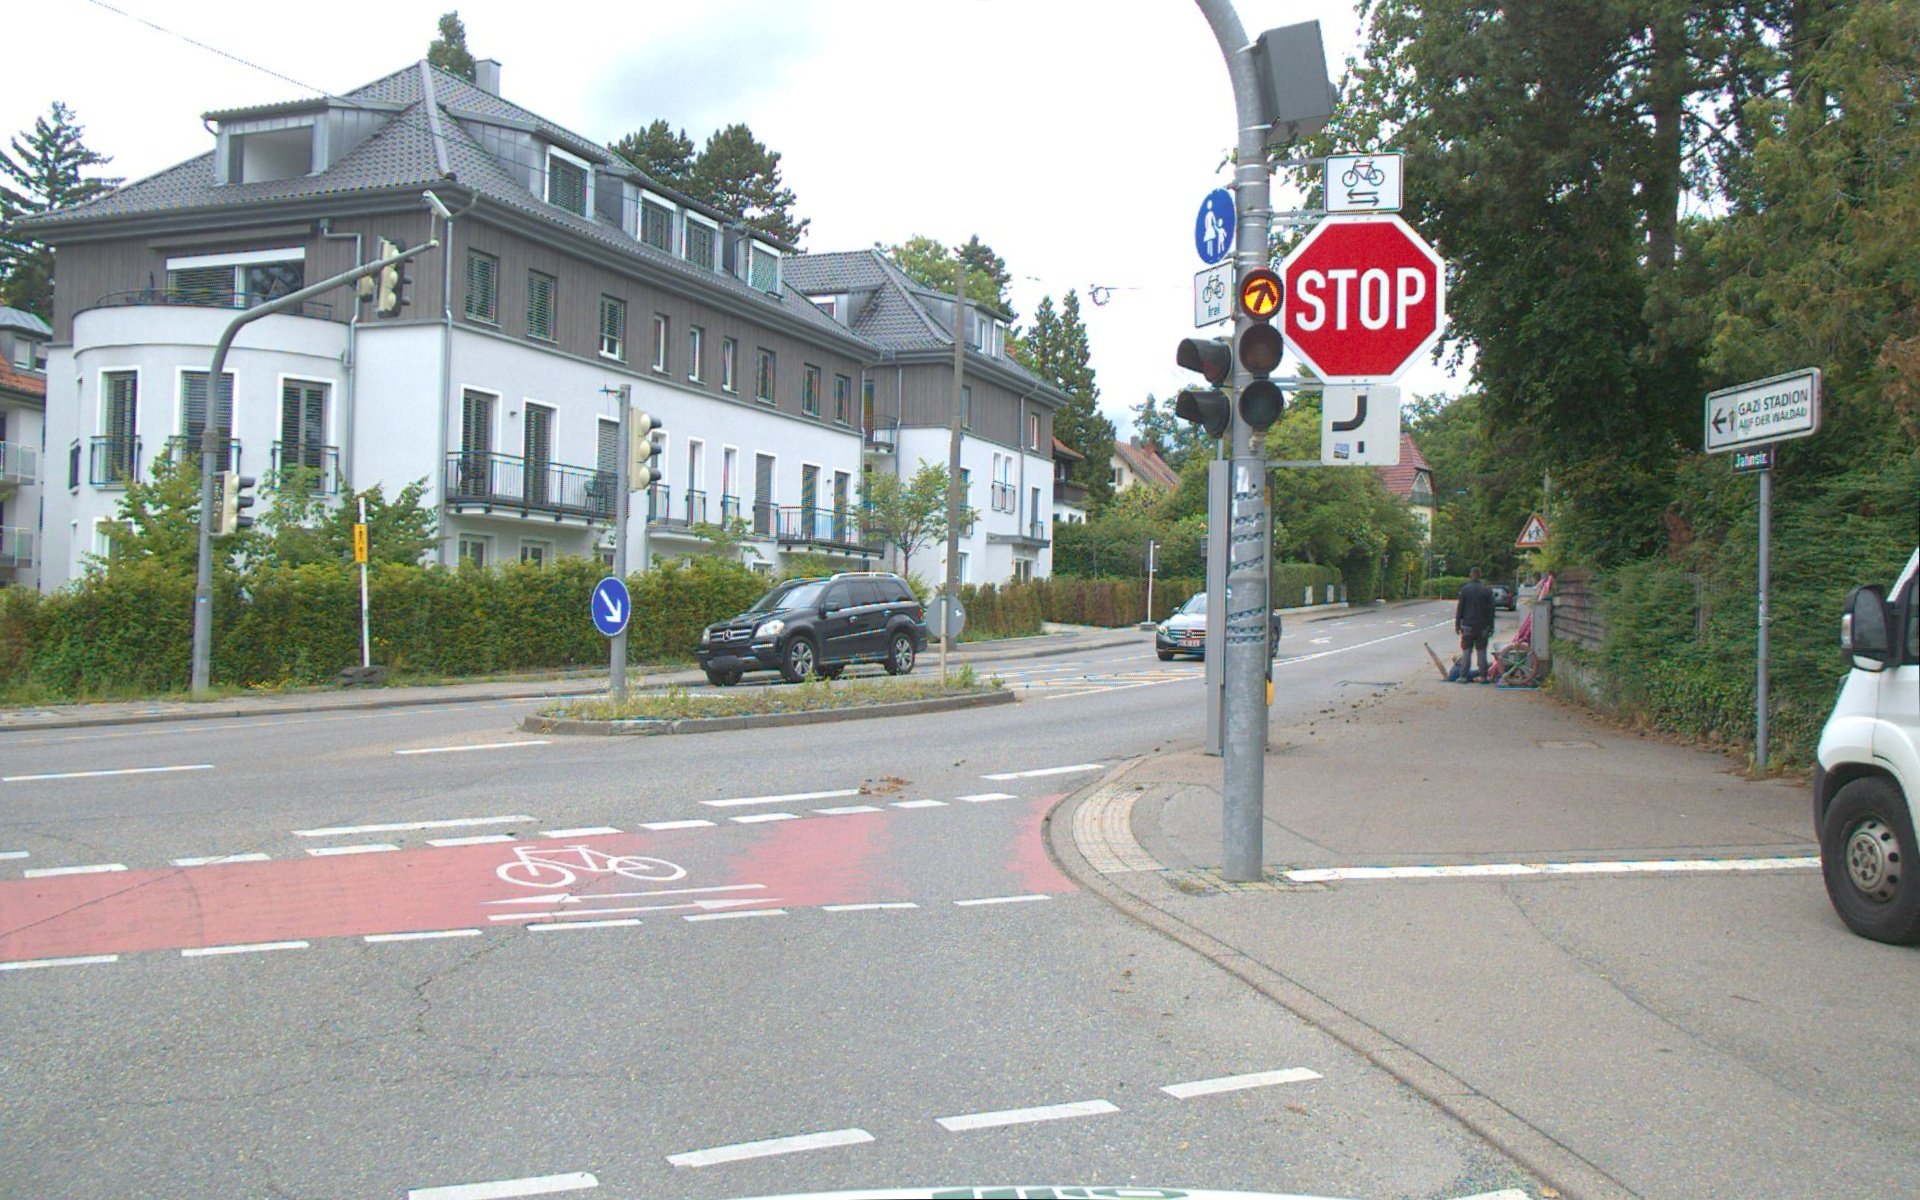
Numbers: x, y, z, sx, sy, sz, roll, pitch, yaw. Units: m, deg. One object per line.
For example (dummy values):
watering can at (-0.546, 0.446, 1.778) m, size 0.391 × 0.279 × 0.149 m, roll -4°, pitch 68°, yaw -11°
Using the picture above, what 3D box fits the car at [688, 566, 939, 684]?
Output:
car at (-2.476, 0.423, 29.433) m, size 1.876 × 1.913 × 5.132 m, roll -1°, pitch -1°, yaw 30°

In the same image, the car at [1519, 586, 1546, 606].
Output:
car at (41.770, -0.313, 120.652) m, size 1.659 × 1.455 × 3.747 m, roll -1°, pitch 0°, yaw 23°

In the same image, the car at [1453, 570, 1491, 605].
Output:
car at (27.433, -0.669, 88.596) m, size 1.770 × 1.784 × 4.488 m, roll -1°, pitch 0°, yaw 19°

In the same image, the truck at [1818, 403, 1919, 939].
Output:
truck at (5.138, 0.317, 5.031) m, size 2.162 × 2.283 × 5.724 m, roll 1°, pitch 0°, yaw 1°

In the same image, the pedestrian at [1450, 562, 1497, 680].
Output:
pedestrian at (8.533, 0.348, 27.521) m, size 0.584 × 1.940 × 0.558 m, roll 1°, pitch 0°, yaw 0°

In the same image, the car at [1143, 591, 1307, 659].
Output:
car at (6.076, 0.514, 37.517) m, size 1.905 × 1.428 × 4.728 m, roll 1°, pitch 1°, yaw 34°
